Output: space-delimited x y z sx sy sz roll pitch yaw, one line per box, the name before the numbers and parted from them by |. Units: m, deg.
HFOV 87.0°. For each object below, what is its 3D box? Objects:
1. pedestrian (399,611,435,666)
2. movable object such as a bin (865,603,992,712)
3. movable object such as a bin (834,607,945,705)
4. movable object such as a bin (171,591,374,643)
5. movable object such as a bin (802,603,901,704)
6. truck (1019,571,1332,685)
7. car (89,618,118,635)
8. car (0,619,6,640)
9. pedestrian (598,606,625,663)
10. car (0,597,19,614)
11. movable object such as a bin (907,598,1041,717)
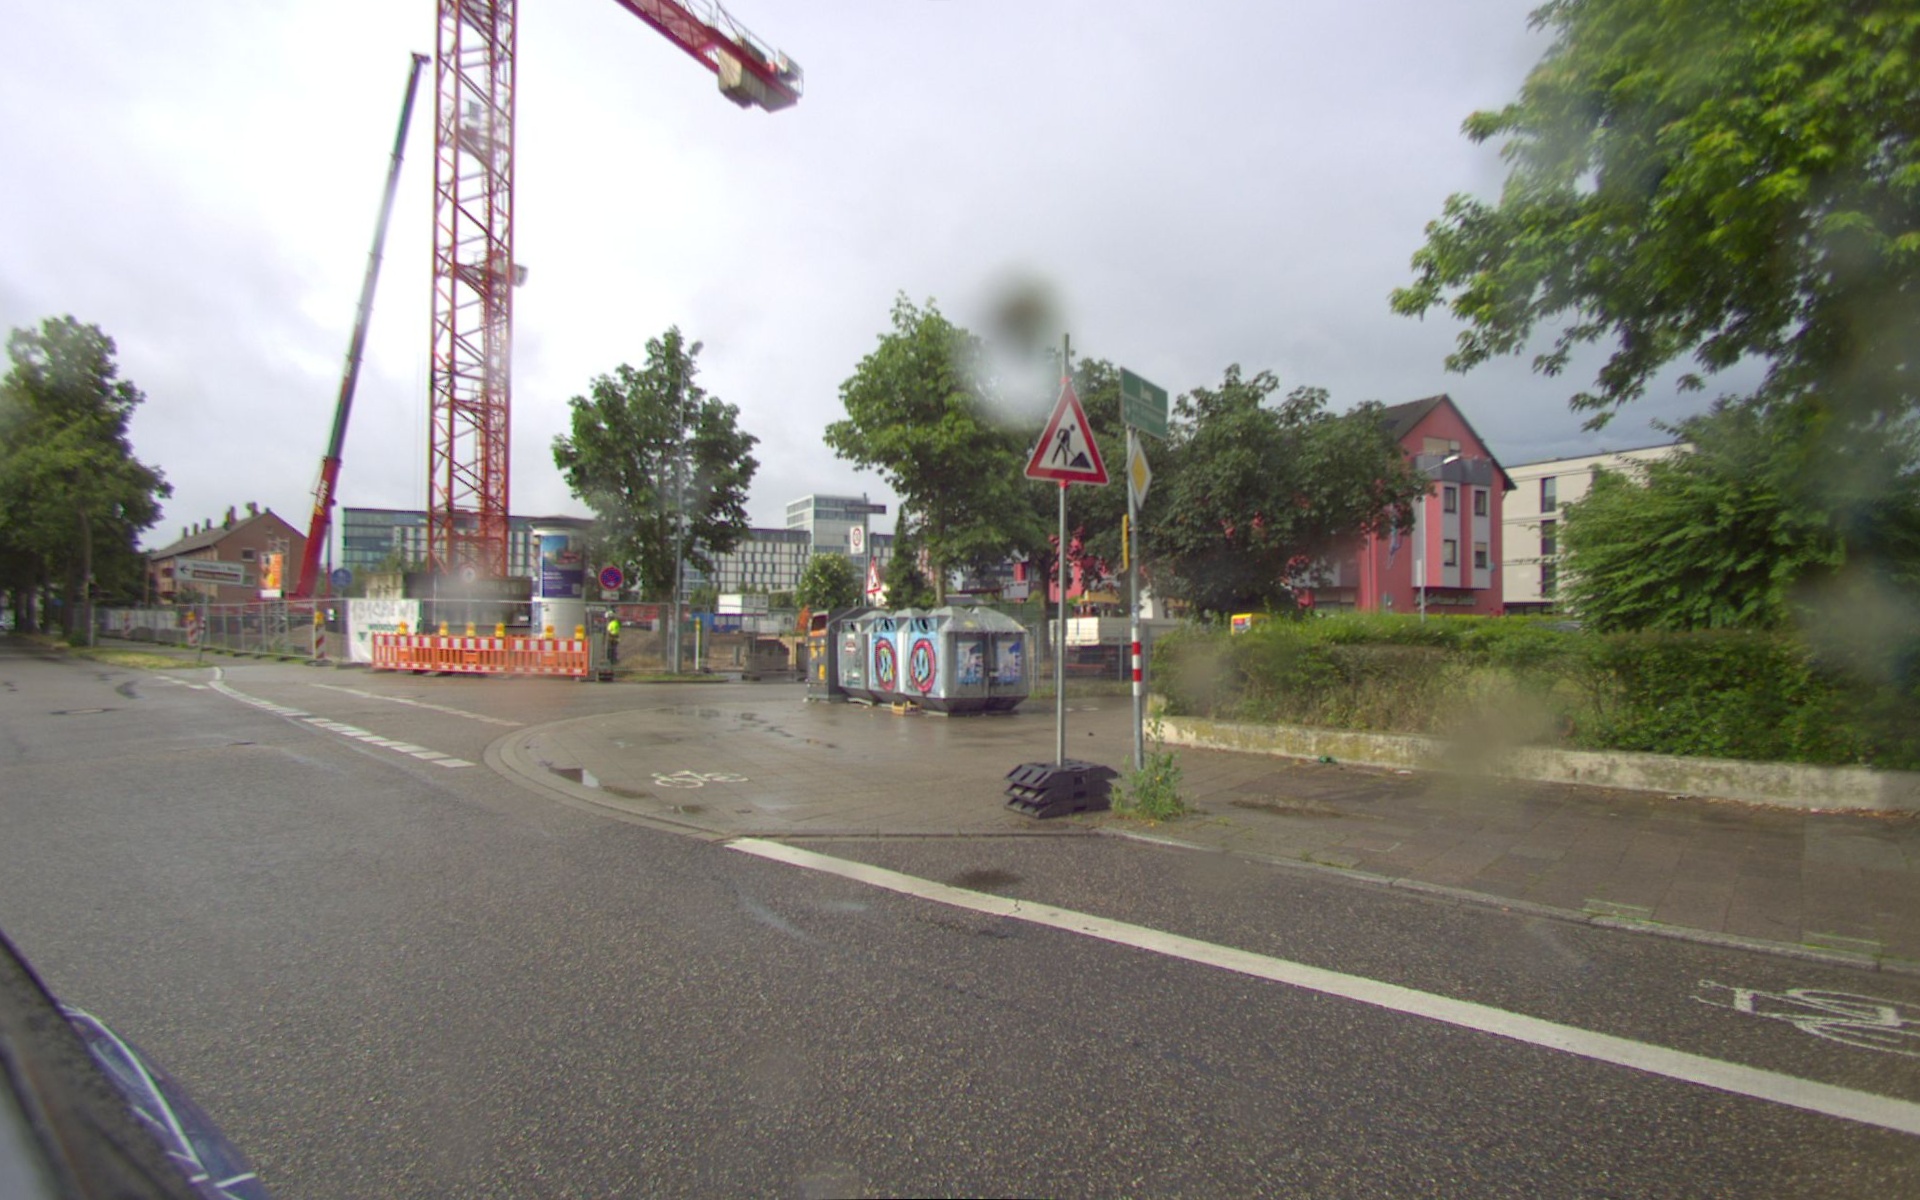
pedestrian | -16.527 1.165 30.828 0.676 1.642 0.722 0 0 7
movable object such as a bin | -0.542 0.937 16.736 1.516 1.687 1.671 2 -3 -27
movable object such as a bin | -1.289 0.997 18.212 1.516 1.669 1.532 2 -3 -27
movable object such as a bin | -65.125 1.452 96.501 15.717 4.592 3.105 -1 0 -43
movable object such as a bin | -2.090 1.023 19.434 1.516 1.838 1.267 2 -3 -27
truck | 7.023 0.976 32.471 9.675 3.208 3.804 2 -3 -29
car | -86.289 2.674 101.948 3.999 1.541 1.671 0 0 42
car | -75.237 2.306 78.455 1.819 1.620 4.002 0 -1 -45
pedestrian | -10.198 1.016 29.575 0.610 1.632 0.551 2 -3 -31
car | -96.307 0.543 102.105 1.792 1.552 3.985 5 -5 -44
movable object such as a bin | 0.193 0.856 15.314 1.516 1.675 1.463 2 -3 -27
